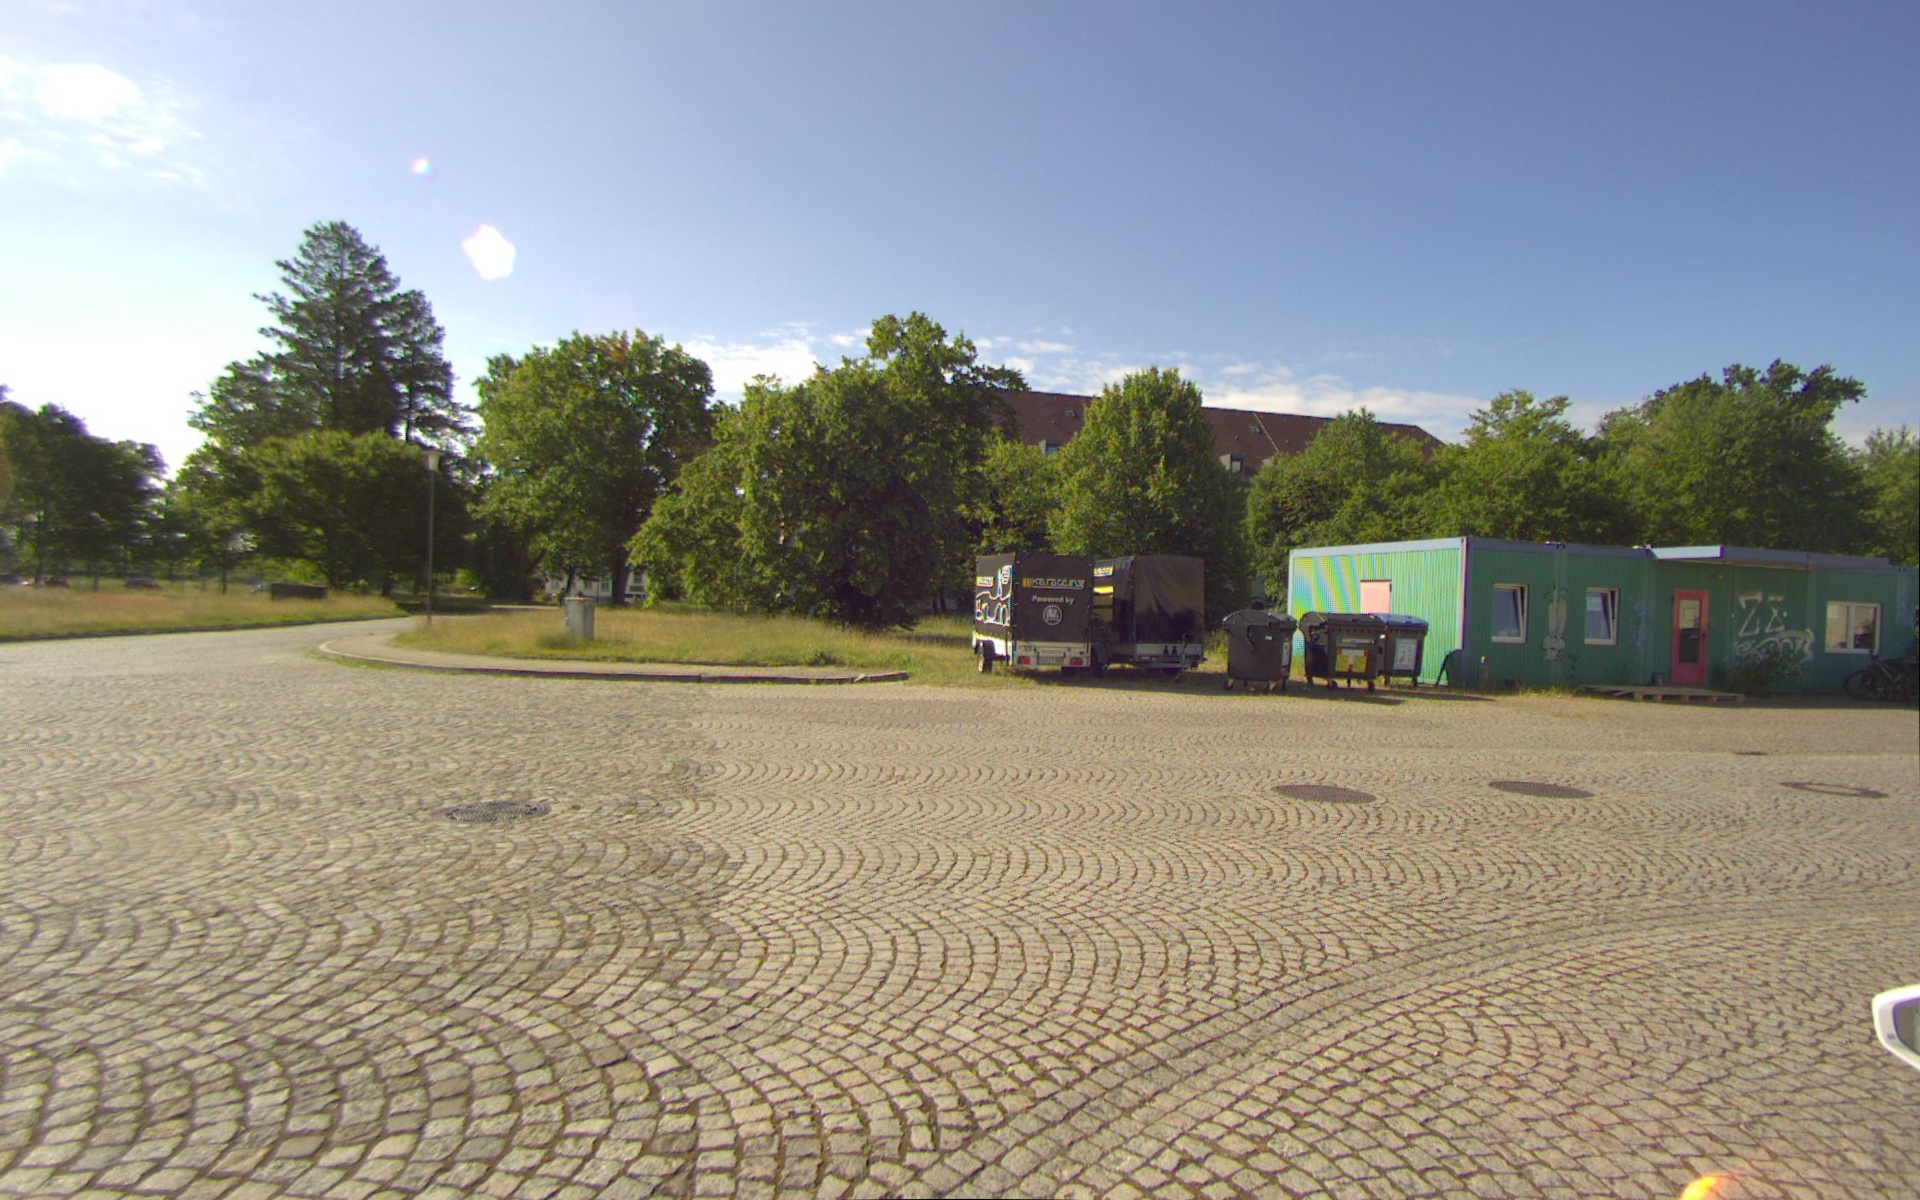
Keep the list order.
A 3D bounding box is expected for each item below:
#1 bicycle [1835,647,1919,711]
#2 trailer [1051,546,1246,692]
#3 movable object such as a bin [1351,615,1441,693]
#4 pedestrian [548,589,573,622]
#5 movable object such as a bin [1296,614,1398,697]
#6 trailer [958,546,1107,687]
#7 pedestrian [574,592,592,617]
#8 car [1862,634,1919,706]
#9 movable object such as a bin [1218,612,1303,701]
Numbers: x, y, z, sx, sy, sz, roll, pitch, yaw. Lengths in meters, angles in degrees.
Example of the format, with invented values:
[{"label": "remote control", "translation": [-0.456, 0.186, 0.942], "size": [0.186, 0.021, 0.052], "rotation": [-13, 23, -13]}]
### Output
[{"label": "bicycle", "translation": [19.441, 1.640, 20.878], "size": [0.657, 1.185, 1.803], "rotation": [2, 0, -15]}, {"label": "trailer", "translation": [3.683, 0.334, 20.607], "size": [1.920, 2.602, 4.634], "rotation": [2, 0, -17]}, {"label": "movable object such as a bin", "translation": [8.748, 1.085, 20.173], "size": [1.421, 1.477, 0.879], "rotation": [2, 1, -24]}, {"label": "pedestrian", "translation": [-23.958, 0.326, 60.245], "size": [1.140, 1.954, 1.124], "rotation": [2, 1, -12]}, {"label": "movable object such as a bin", "translation": [7.317, 1.038, 19.039], "size": [1.416, 1.477, 1.018], "rotation": [2, 1, -14]}, {"label": "trailer", "translation": [1.341, 0.301, 20.046], "size": [2.009, 2.502, 3.387], "rotation": [2, 0, -12]}, {"label": "pedestrian", "translation": [-31.291, 0.363, 83.294], "size": [1.140, 1.954, 1.321], "rotation": [2, 1, -12]}, {"label": "car", "translation": [21.400, 1.555, 20.370], "size": [1.899, 1.469, 4.252], "rotation": [2, 0, -15]}, {"label": "movable object such as a bin", "translation": [5.416, 0.982, 18.051], "size": [1.135, 1.477, 1.436], "rotation": [3, 1, 29]}]
